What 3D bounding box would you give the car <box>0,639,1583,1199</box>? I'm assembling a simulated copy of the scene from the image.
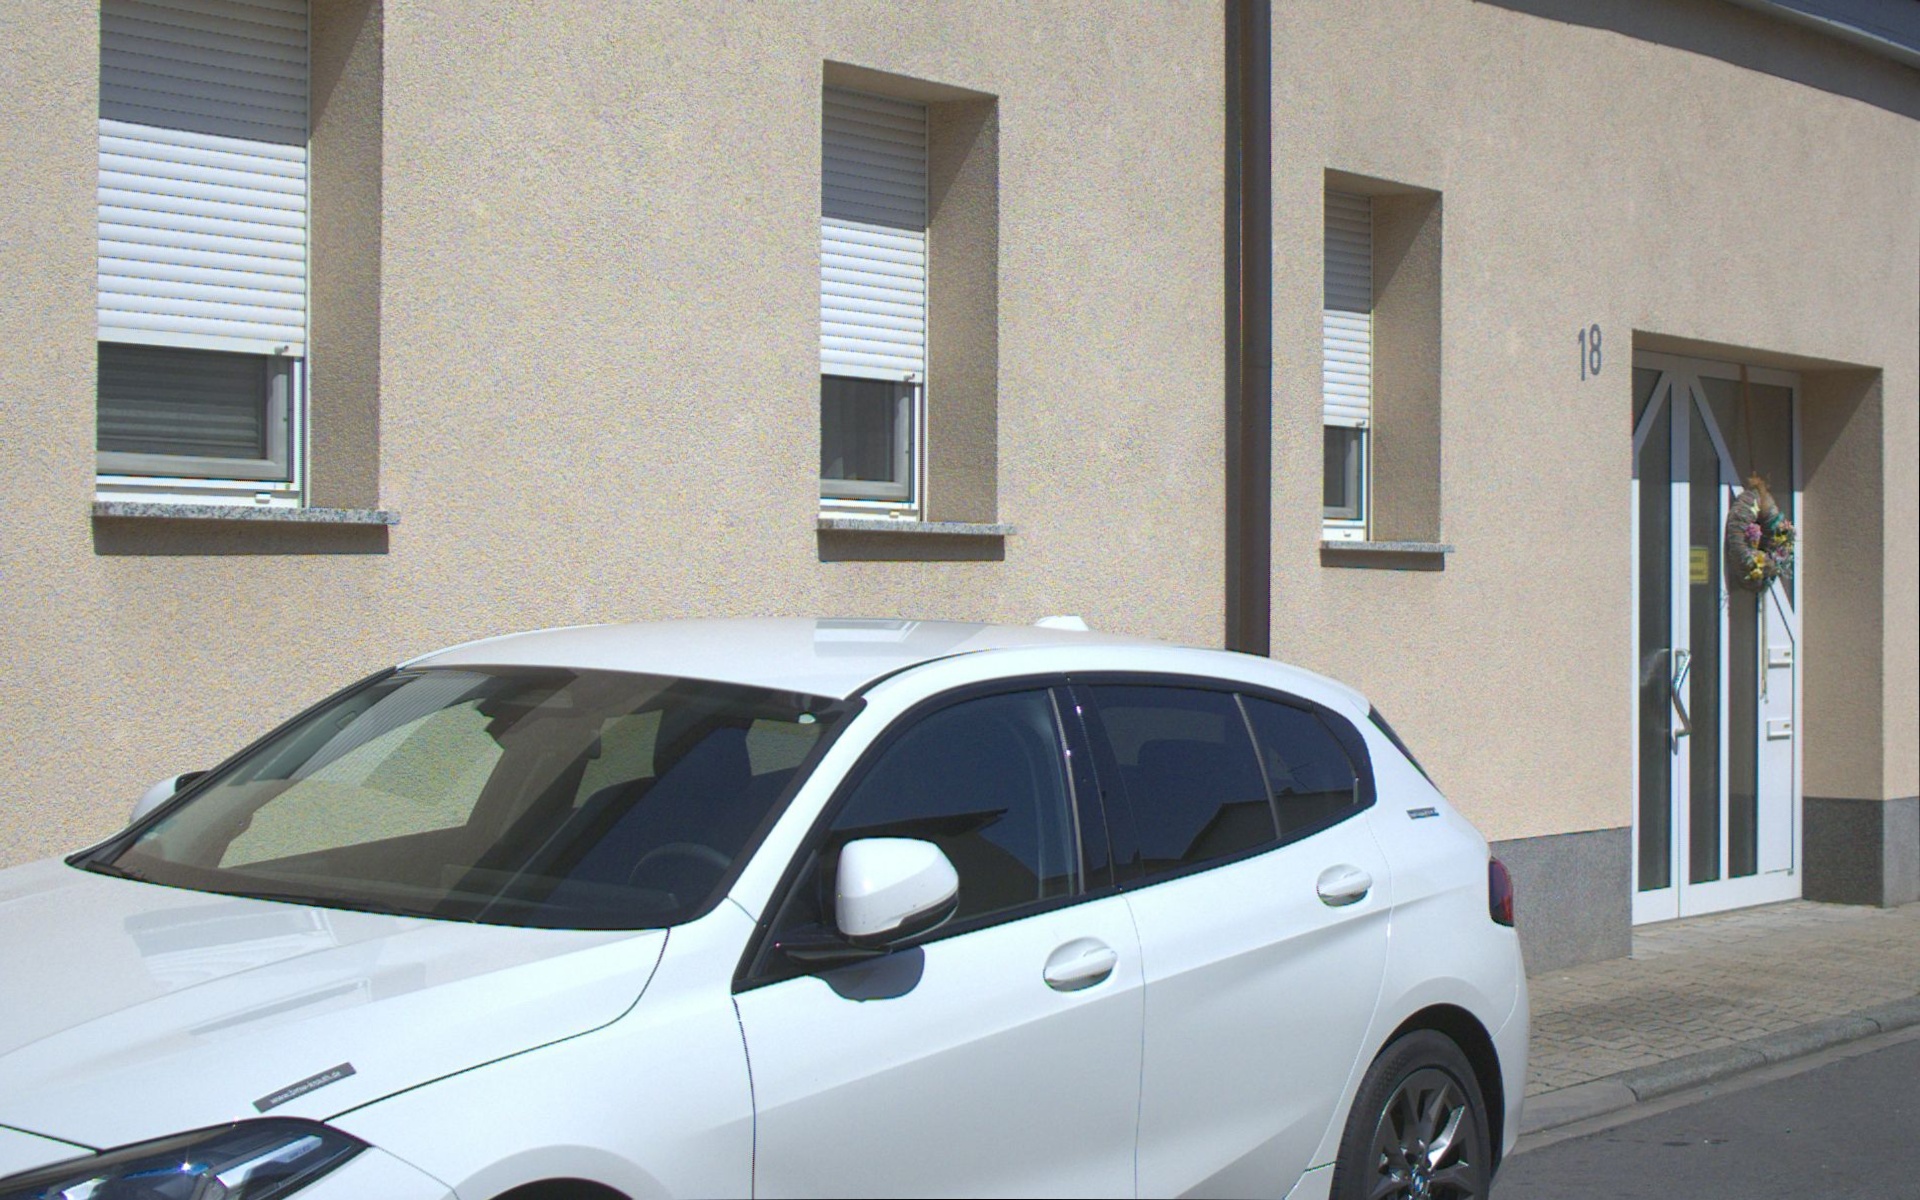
[{"bbox_3d":[-0.632,0.808,6.293,1.786,1.449,4.206,0,-1,37],"label":"car"}]
